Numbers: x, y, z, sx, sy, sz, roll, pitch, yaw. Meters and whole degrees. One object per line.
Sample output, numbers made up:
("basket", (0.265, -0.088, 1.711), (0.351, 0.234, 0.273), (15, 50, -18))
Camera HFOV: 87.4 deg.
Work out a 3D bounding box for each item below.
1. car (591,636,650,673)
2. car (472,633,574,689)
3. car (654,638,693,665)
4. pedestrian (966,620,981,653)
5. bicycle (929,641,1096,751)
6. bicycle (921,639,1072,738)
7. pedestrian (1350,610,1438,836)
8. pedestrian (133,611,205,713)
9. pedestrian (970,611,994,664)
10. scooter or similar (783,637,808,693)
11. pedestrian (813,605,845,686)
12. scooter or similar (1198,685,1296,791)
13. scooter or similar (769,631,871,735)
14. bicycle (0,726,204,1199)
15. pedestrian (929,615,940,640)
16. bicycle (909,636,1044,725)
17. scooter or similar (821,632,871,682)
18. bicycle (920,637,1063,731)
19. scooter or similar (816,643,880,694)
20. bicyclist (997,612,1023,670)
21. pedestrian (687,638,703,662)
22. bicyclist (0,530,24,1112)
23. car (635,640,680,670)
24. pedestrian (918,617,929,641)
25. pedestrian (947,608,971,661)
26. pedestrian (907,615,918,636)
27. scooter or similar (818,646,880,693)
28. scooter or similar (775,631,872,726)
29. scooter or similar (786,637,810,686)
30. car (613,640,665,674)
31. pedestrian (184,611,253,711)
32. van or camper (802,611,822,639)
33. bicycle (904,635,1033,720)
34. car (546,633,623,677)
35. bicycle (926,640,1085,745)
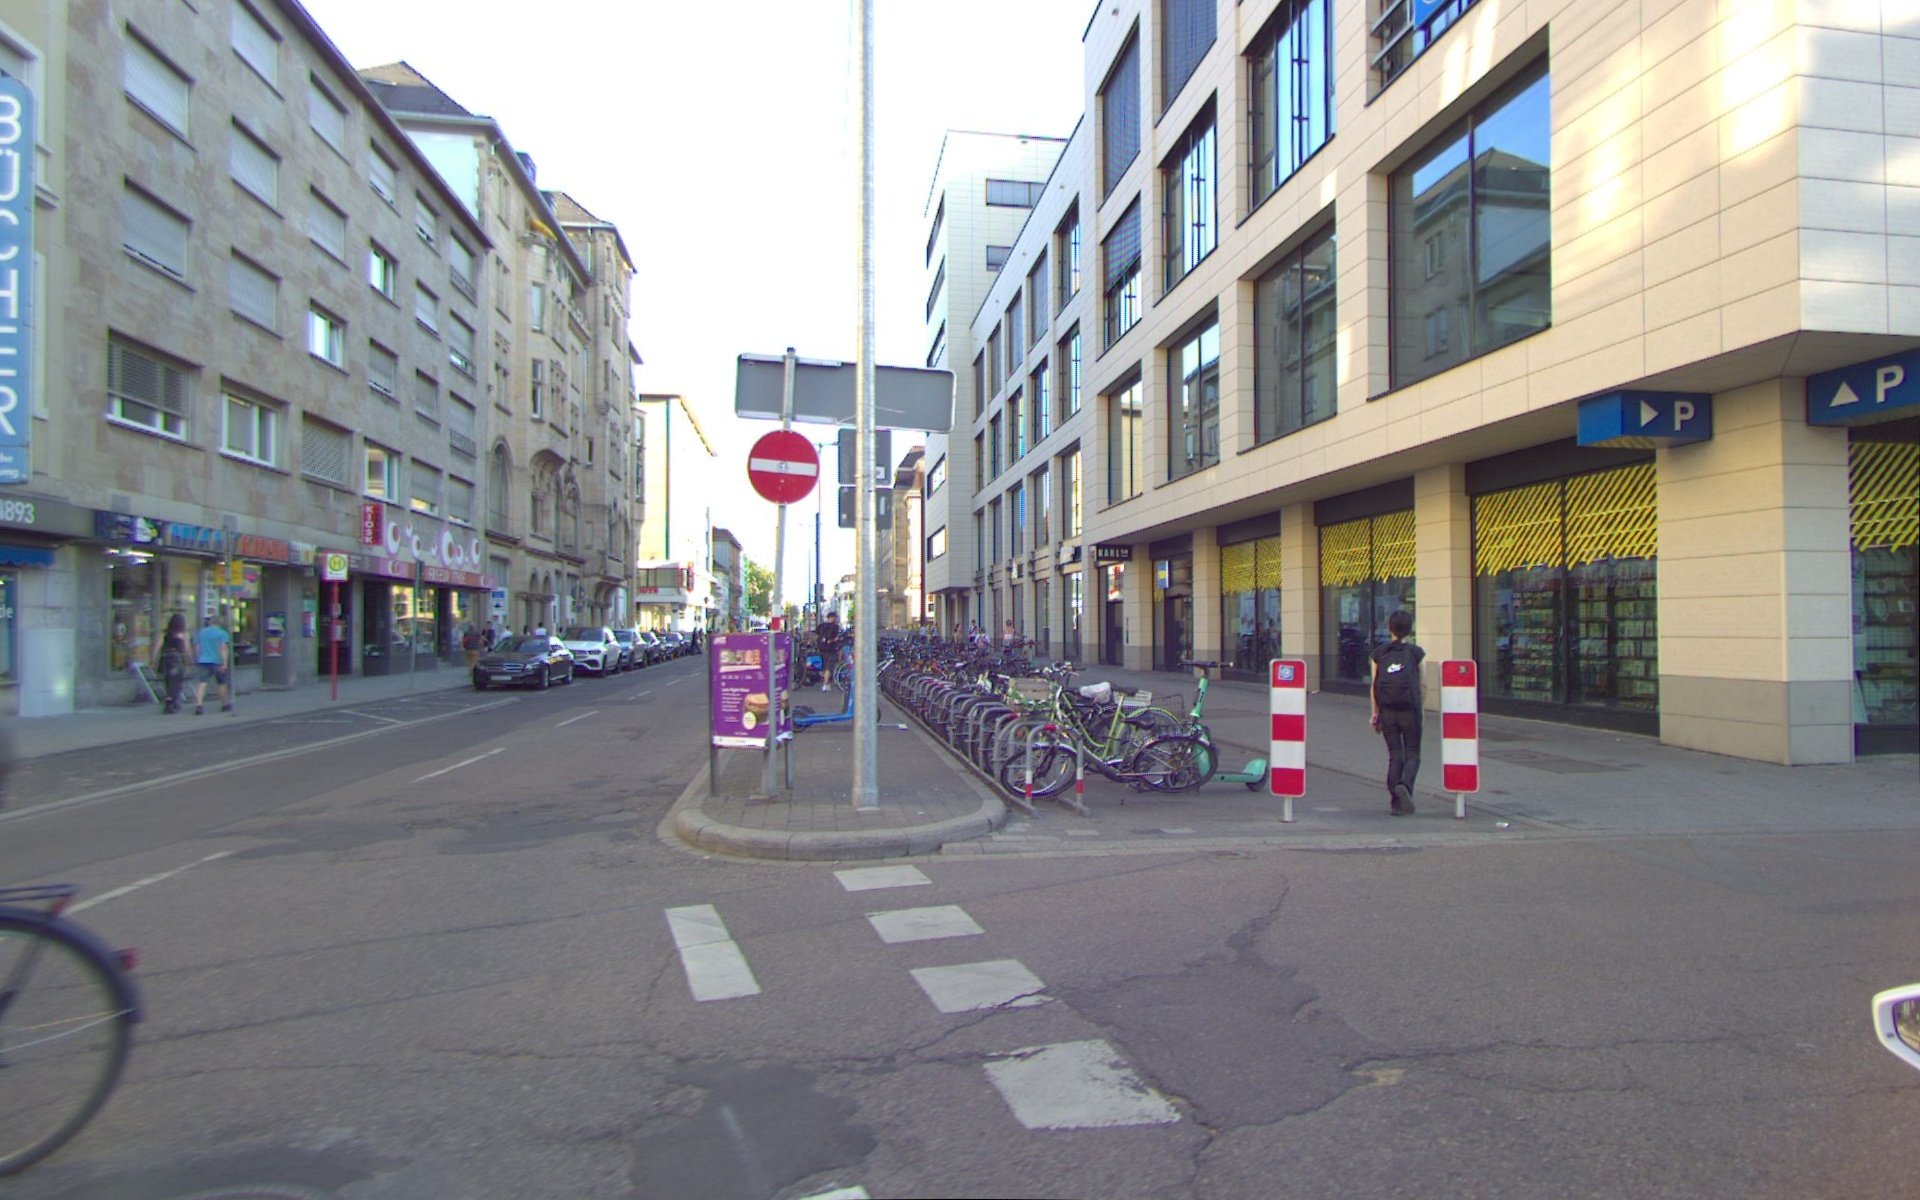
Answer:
("car", (-14.074, 2.237, 41.773), (1.831, 1.409, 3.992), (0, -1, -12))
("car", (-12.223, 1.655, 28.357), (1.831, 1.409, 3.992), (0, -1, -12))
("car", (-16.306, 2.903, 57.308), (1.831, 1.409, 3.992), (0, -1, -12))
("pedestrian", (0.714, 1.906, 53.155), (0.672, 1.718, 0.643), (0, -1, -10))
("bicycle", (0.633, 1.146, 12.156), (1.943, 1.271, 0.512), (1, -1, -11))
("bicycle", (0.484, 1.166, 13.436), (1.943, 1.271, 0.512), (1, -1, -11))
("pedestrian", (3.460, 0.919, 7.989), (0.607, 1.680, 0.871), (0, -1, 25))
("pedestrian", (-13.766, 1.056, 17.506), (0.653, 1.730, 0.802), (0, -1, -9))
("pedestrian", (0.732, 1.220, 33.162), (0.672, 1.718, 0.643), (0, -1, -10))
("scooter or similar", (-3.884, 1.511, 23.776), (0.506, 1.259, 1.270), (1, -1, -6))
("pedestrian", (-2.841, 0.973, 21.799), (0.671, 1.718, 0.644), (0, -1, -6))
("scooter or similar", (2.583, 1.233, 9.067), (0.756, 0.896, 0.387), (1, -1, -11))
("scooter or similar", (-1.781, 1.047, 12.745), (1.248, 1.277, 0.387), (1, -1, -11))
("bicycle", (-2.984, 0.928, 2.355), (1.793, 1.153, 0.663), (1, -1, -18))
("pedestrian", (-1.806, 1.920, 70.406), (0.672, 1.718, 0.643), (0, -1, -10))
("bicycle", (0.246, 1.189, 15.018), (1.944, 1.271, 0.512), (1, -1, -12))
("scooter or similar", (-2.907, 1.457, 25.572), (1.248, 1.259, 0.387), (1, -1, -11))
("bicycle", (0.441, 1.178, 14.204), (1.943, 1.271, 0.512), (1, -1, -11))
("scooter or similar", (-2.245, 1.363, 20.105), (1.248, 1.005, 0.387), (1, -1, -11))
("bicyclist", (1.478, 1.207, 29.878), (0.672, 1.718, 0.643), (0, -1, -9))
("pedestrian", (-16.167, 3.062, 61.294), (0.907, 1.447, 0.401), (0, -1, -14))
("bicyclist", (-2.944, 0.596, 2.365), (0.849, 1.591, 0.658), (1, -1, -18))
("car", (-15.611, 2.813, 51.969), (1.831, 1.409, 3.992), (0, -1, -12))
("pedestrian", (-2.570, 2.021, 70.151), (0.672, 1.682, 0.643), (0, -1, -10))
("pedestrian", (-0.032, 1.118, 33.001), (0.672, 1.718, 0.643), (0, -1, -10))
("pedestrian", (-3.227, 1.745, 68.616), (0.672, 1.444, 0.643), (0, -1, -10))
("scooter or similar", (-2.303, 1.430, 20.782), (1.248, 0.954, 0.387), (1, -1, -11))
("scooter or similar", (-1.811, 1.029, 13.334), (1.248, 1.228, 0.387), (1, -1, -11))
("scooter or similar", (-4.154, 1.571, 25.776), (0.506, 1.196, 1.270), (1, -1, -6))
("car", (-14.719, 2.580, 46.242), (1.831, 1.409, 3.992), (0, -1, -12))
("pedestrian", (-13.121, 1.067, 17.793), (0.653, 1.730, 0.802), (0, -1, -9))
("van or camper", (-18.192, 3.072, 123.931), (1.961, 3.317, 5.162), (0, -1, -3))
("bicycle", (0.133, 1.198, 15.638), (1.943, 1.271, 0.512), (1, -1, -11))
("car", (-13.219, 1.898, 35.631), (1.831, 1.409, 4.613), (0, -1, -12))
("bicycle", (0.572, 1.155, 12.725), (1.943, 1.271, 0.512), (1, -1, -11))
